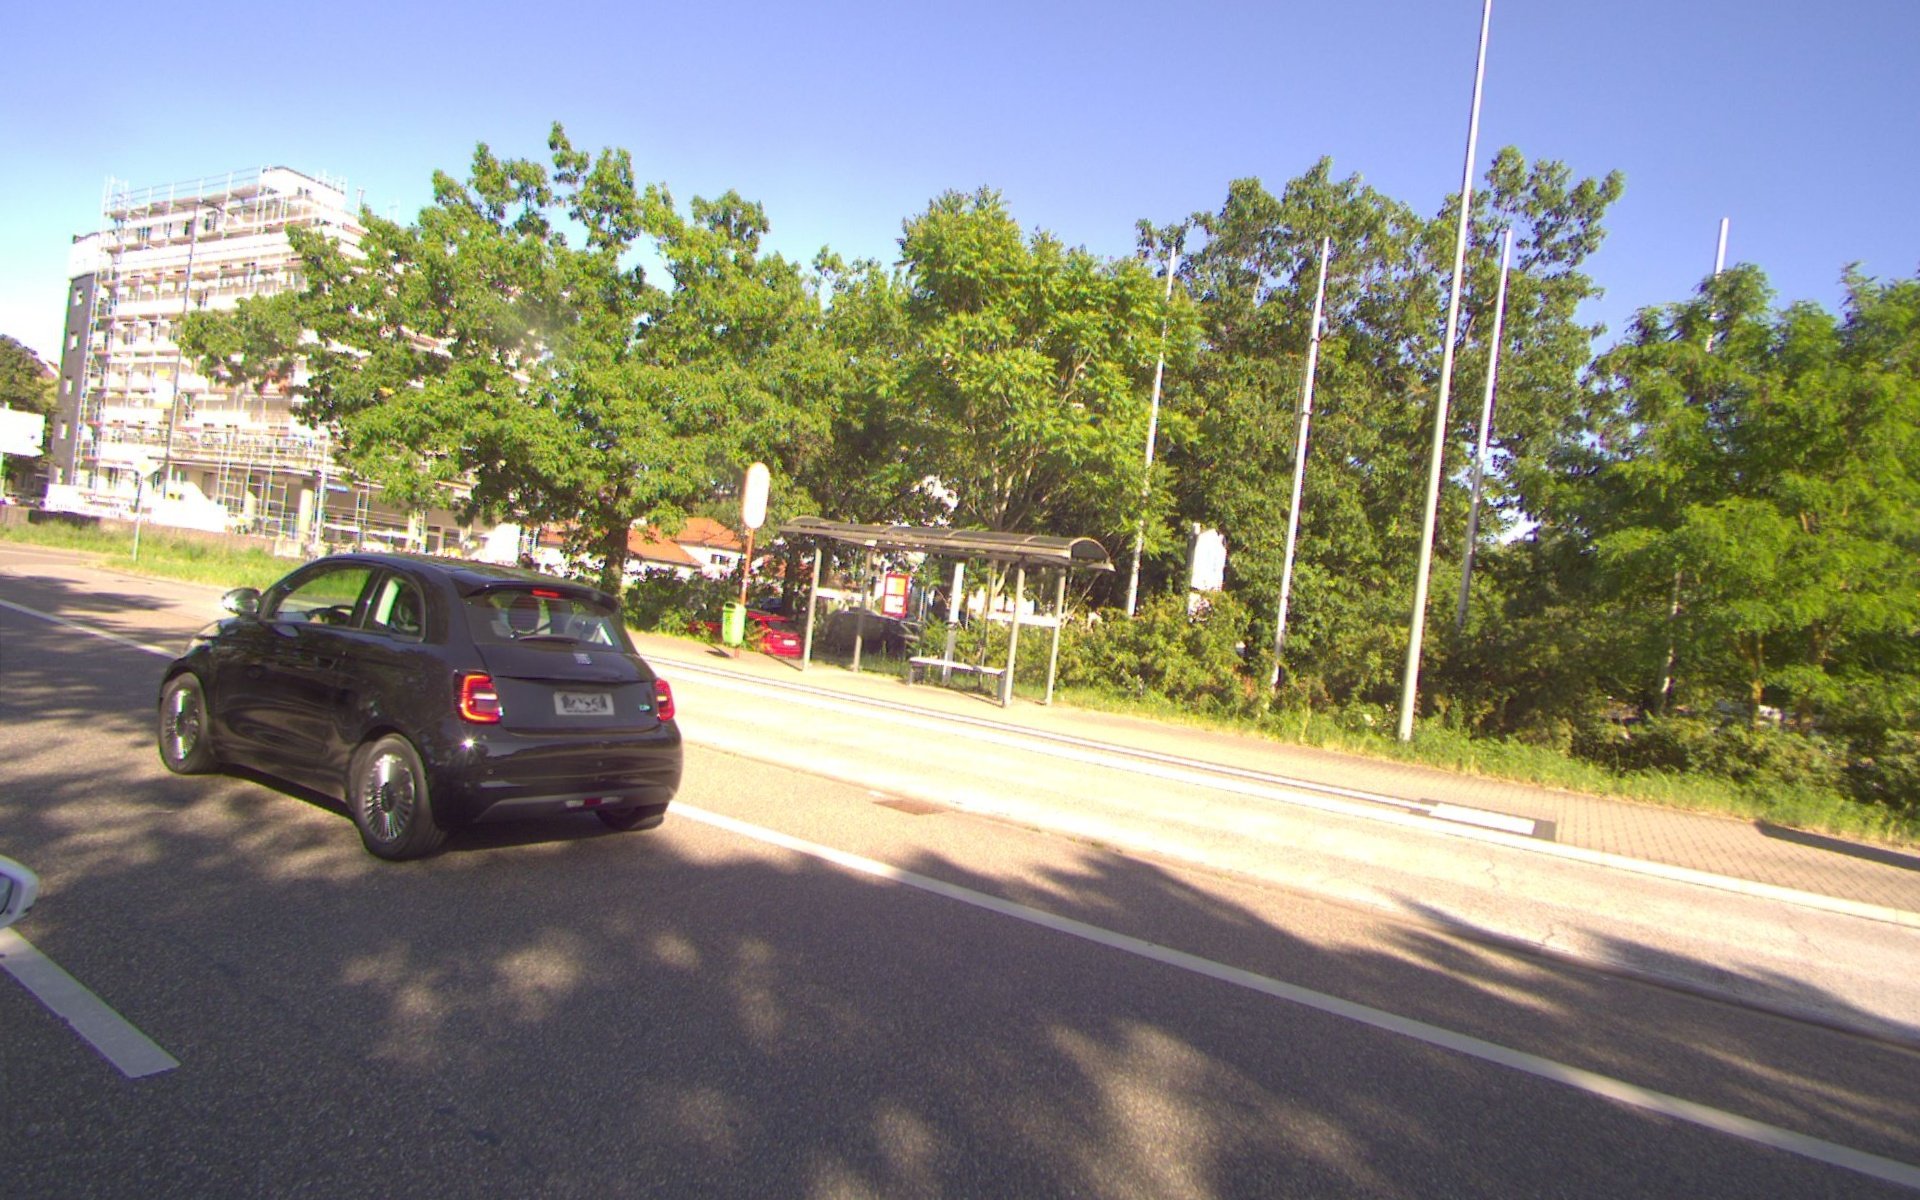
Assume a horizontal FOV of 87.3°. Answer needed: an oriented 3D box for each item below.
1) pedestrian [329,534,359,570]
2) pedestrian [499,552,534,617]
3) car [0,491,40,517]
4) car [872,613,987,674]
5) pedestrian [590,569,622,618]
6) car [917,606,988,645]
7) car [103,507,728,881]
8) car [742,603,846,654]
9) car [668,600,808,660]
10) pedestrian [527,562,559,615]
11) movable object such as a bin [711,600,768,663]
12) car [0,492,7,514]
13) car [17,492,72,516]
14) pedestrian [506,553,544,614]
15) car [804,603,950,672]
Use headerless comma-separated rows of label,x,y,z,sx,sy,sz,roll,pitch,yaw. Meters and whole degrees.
pedestrian,-28.107,-2.181,45.889,0.892,1.515,0.651,7,0,24
pedestrian,-12.358,-0.423,28.019,0.403,1.721,0.603,7,1,31
car,-66.220,-6.731,70.147,1.802,1.526,3.976,7,0,-24
car,-1.186,1.647,38.429,3.938,1.835,1.846,6,-2,36
pedestrian,-12.390,-0.224,35.193,0.557,1.638,0.705,6,-1,26
car,-0.538,1.727,68.196,4.283,2.098,1.995,7,0,35
car,-3.397,0.412,6.192,3.501,1.521,1.677,7,0,30
car,-7.006,1.197,42.308,3.938,1.626,1.995,6,-2,36
car,-6.259,0.829,28.268,3.846,1.168,1.399,7,0,31
pedestrian,-12.809,-0.354,30.911,0.604,1.537,0.528,7,0,35
movable object such as a bin,-3.992,0.572,18.244,0.568,1.042,0.727,7,0,31
car,-64.223,-6.526,65.664,1.759,1.460,3.596,8,-1,-25
car,-83.445,-8.722,91.707,3.925,1.613,1.911,7,0,19
pedestrian,-12.431,-0.464,28.753,0.542,1.654,0.622,7,1,32
car,-2.959,1.299,35.453,4.811,1.556,1.996,9,-1,35
